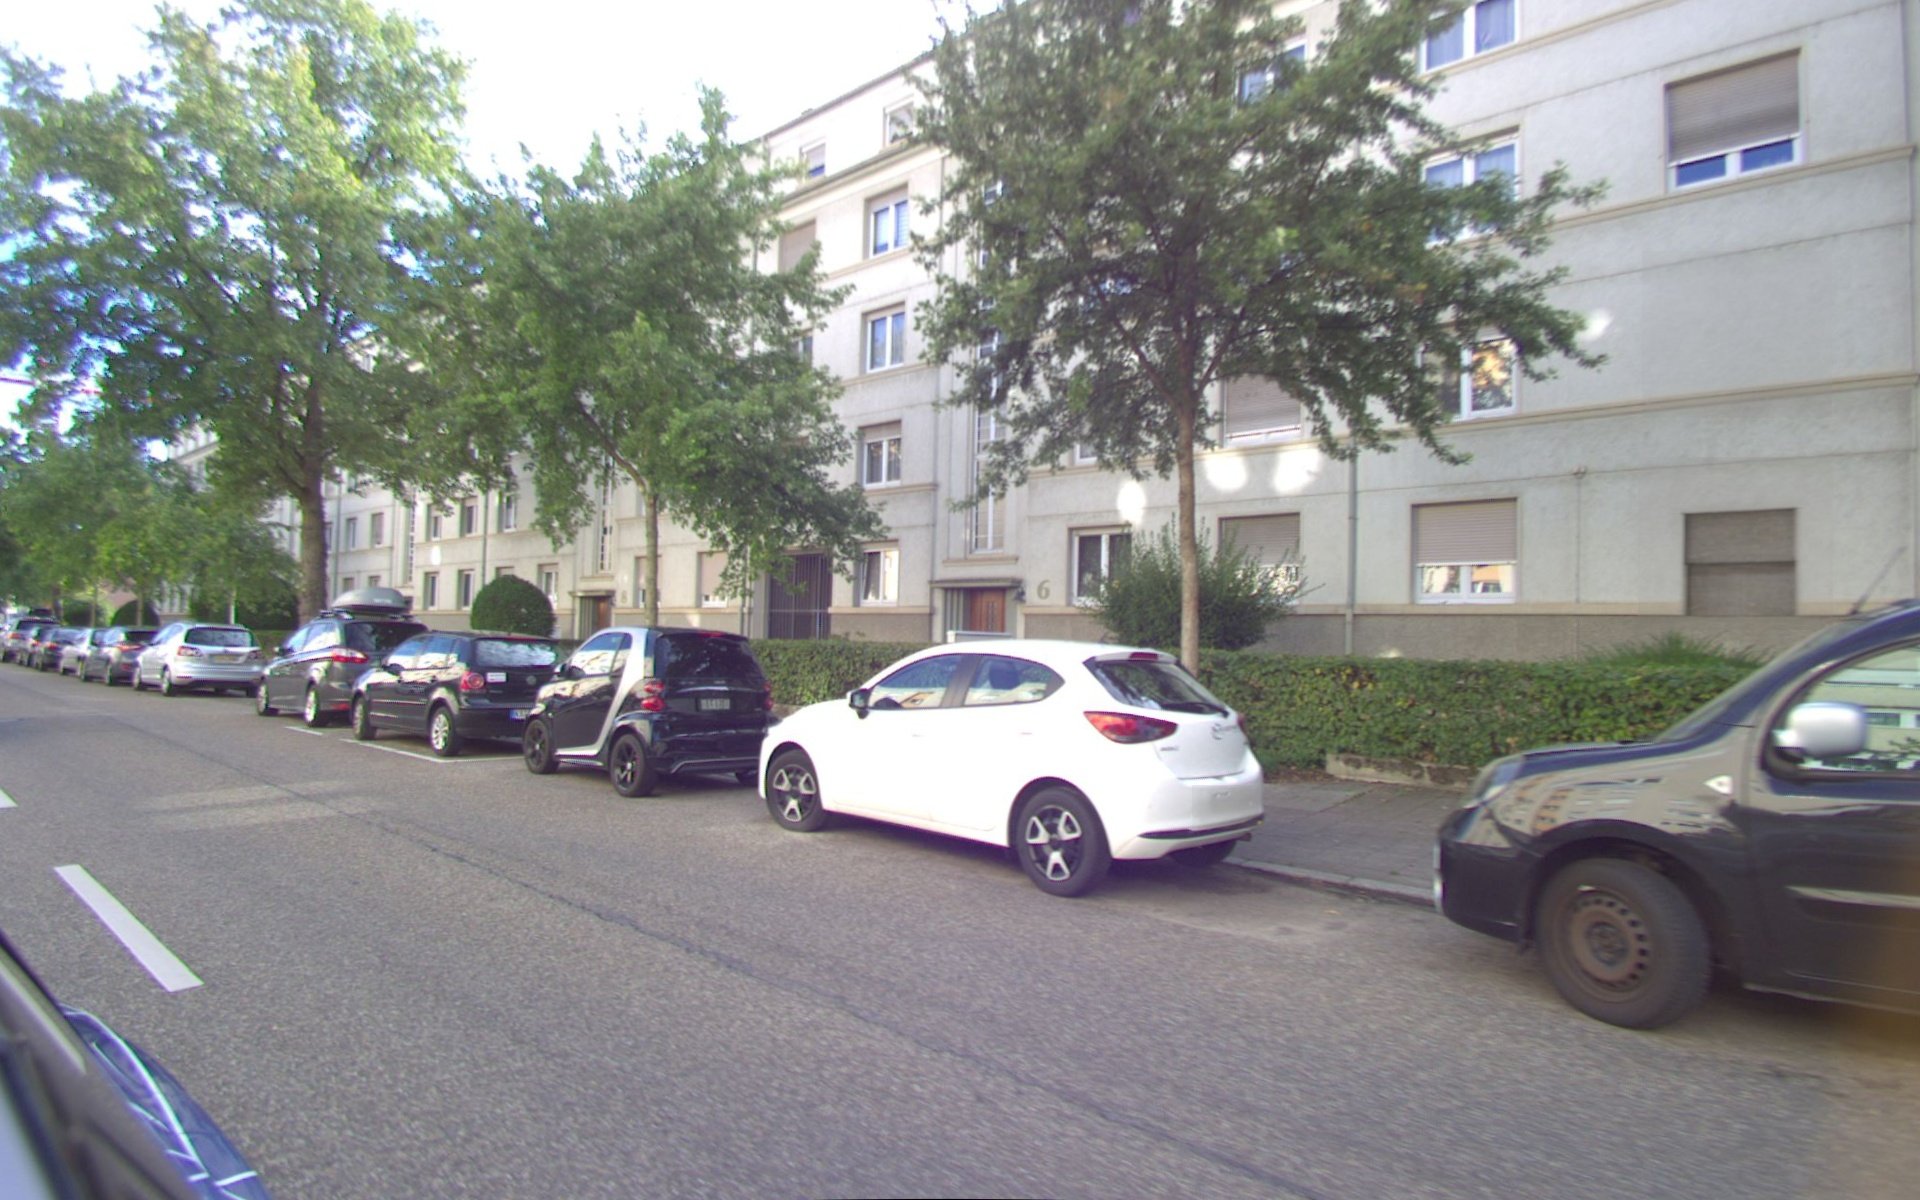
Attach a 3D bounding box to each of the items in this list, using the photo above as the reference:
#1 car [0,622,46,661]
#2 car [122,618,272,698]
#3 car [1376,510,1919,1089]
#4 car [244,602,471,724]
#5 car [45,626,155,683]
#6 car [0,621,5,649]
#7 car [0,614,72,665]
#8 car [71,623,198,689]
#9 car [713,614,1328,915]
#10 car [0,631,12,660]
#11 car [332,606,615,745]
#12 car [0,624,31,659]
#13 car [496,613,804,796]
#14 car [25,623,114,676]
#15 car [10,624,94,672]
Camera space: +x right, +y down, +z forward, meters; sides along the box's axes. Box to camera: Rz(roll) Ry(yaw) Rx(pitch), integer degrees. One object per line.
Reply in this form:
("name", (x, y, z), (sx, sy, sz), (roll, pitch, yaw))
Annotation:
("car", (-40.815, 1.755, 43.408), (4.459, 1.585, 1.835), (-1, -5, 42))
("car", (-16.976, 1.271, 22.458), (3.991, 1.632, 1.721), (-1, -5, 40))
("car", (3.980, 0.707, 3.765), (4.189, 1.897, 1.705), (-1, -6, 41))
("car", (-9.716, 1.000, 16.179), (4.481, 1.681, 1.780), (-2, -6, 42))
("car", (-24.349, 1.515, 28.615), (3.960, 1.429, 1.584), (-1, -7, 40))
("car", (-53.699, 1.873, 55.132), (4.680, 1.497, 1.836), (-1, -5, 40))
("car", (-36.303, 1.533, 39.319), (4.967, 1.806, 1.858), (-1, -6, 40))
("car", (-20.845, 1.399, 25.521), (4.009, 1.479, 1.598), (-1, -7, 39))
("car", (0.167, 0.940, 7.230), (4.334, 1.504, 1.675), (-2, -6, 45))
("car", (-48.691, 2.180, 50.263), (4.663, 1.404, 1.720), (-1, -6, 41))
("car", (-6.205, 0.918, 12.756), (3.844, 1.498, 1.683), (-1, -6, 40))
("car", (-44.604, 1.872, 46.755), (4.942, 1.497, 1.836), (-1, -7, 41))
("car", (-3.152, 0.978, 10.097), (3.016, 1.532, 1.536), (-2, -6, 43))
("car", (-28.610, 1.573, 32.474), (4.453, 1.492, 1.666), (-2, -7, 44))
("car", (-32.233, 1.690, 35.896), (4.118, 1.492, 1.667), (-1, -7, 42))
